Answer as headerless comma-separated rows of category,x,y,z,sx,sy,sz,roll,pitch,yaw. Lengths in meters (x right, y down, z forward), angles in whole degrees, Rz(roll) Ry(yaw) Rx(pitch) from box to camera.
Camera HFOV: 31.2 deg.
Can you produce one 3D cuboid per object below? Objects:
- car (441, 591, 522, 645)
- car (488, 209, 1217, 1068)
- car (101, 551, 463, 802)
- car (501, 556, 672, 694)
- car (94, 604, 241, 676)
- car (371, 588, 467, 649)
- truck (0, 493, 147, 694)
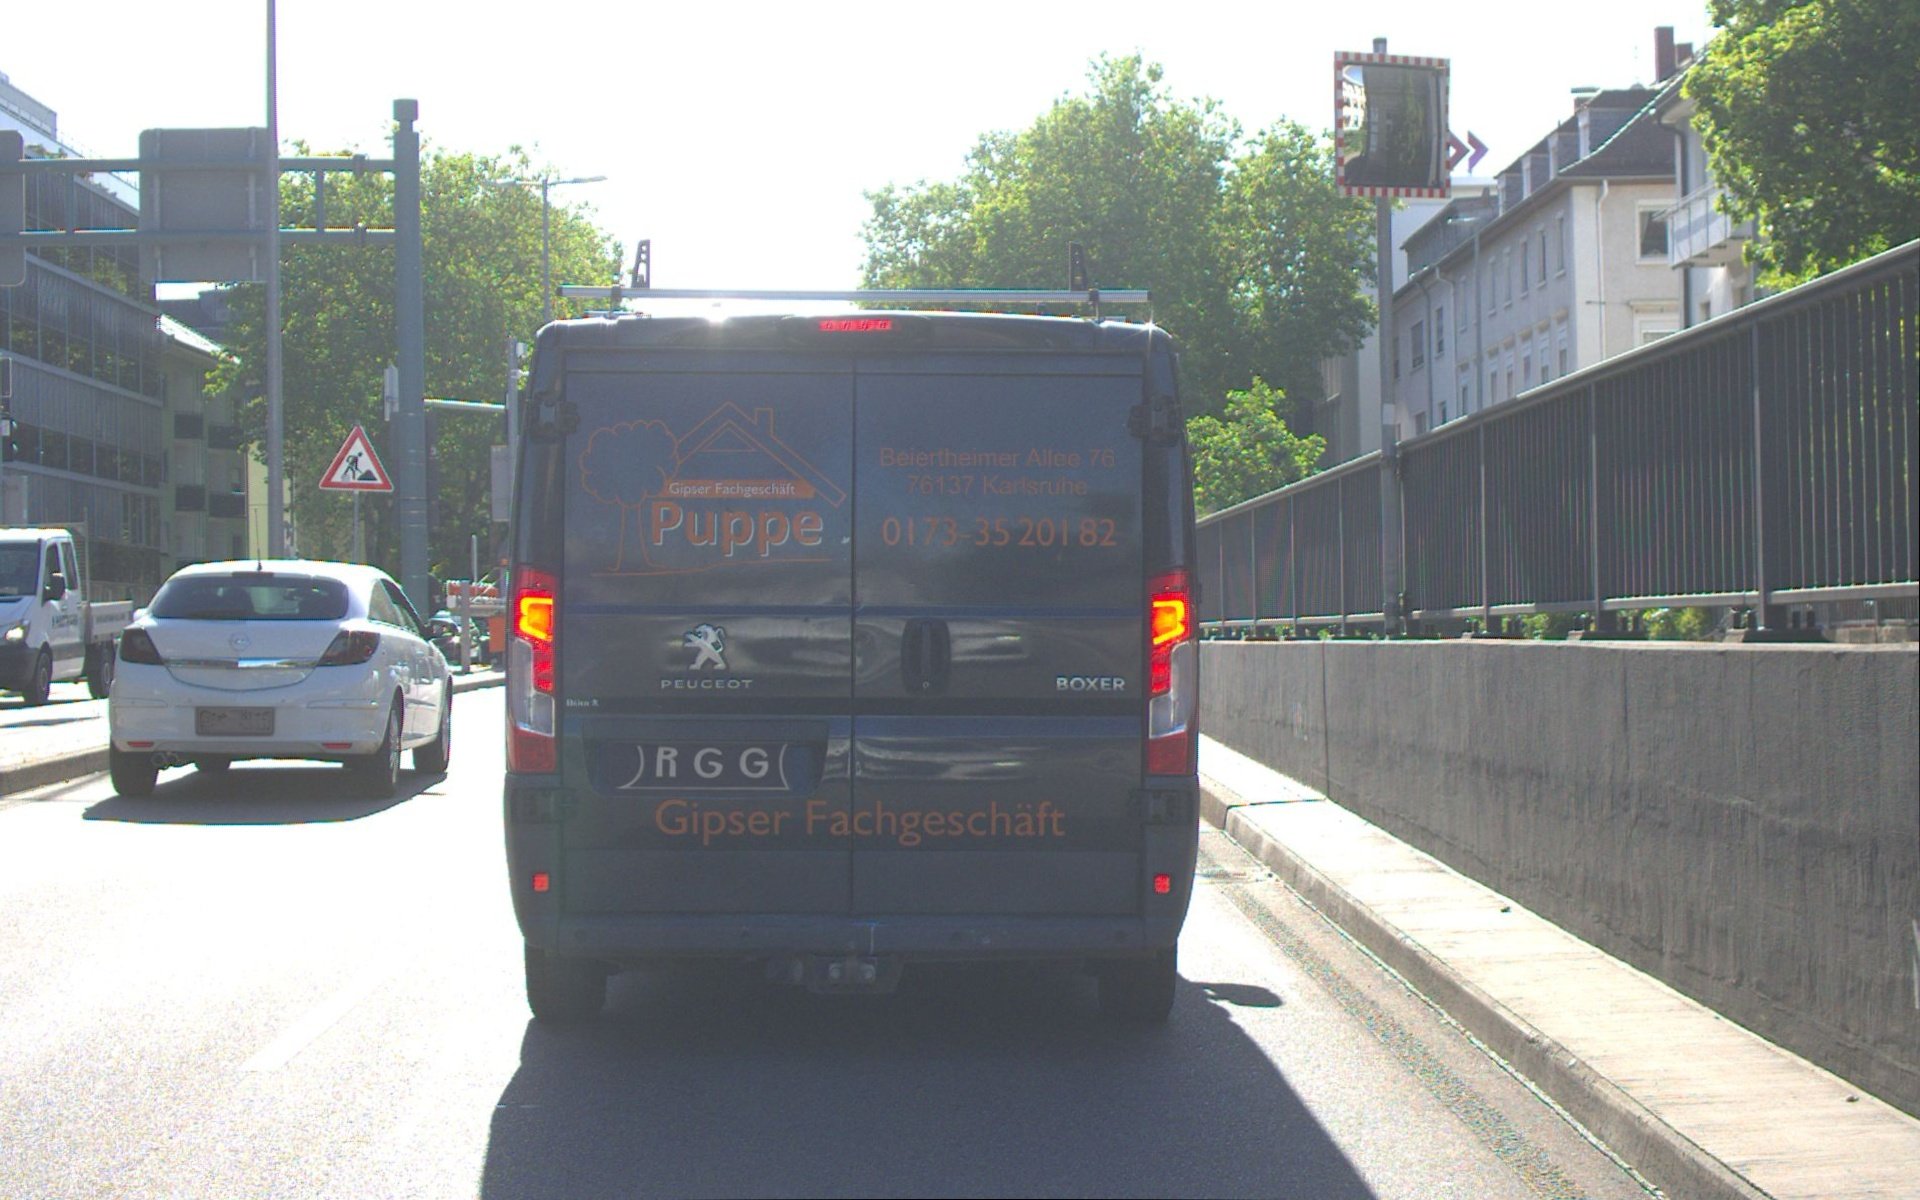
car,-14.476,0.532,104.186,1.936,1.550,3.923,1,0,-1
car,-0.340,0.103,11.584,2.030,2.394,3.973,0,0,-1
car,-4.214,0.416,21.875,1.619,1.398,3.852,1,1,-1
car,-4.256,0.254,39.555,1.689,1.478,3.319,1,1,-2
car,-15.955,0.791,69.356,1.677,1.405,3.614,0,0,8
car,-14.143,0.466,90.054,1.936,1.550,3.923,1,0,-1
truck,-12.806,-0.046,46.280,2.229,2.519,6.129,-2,0,0
